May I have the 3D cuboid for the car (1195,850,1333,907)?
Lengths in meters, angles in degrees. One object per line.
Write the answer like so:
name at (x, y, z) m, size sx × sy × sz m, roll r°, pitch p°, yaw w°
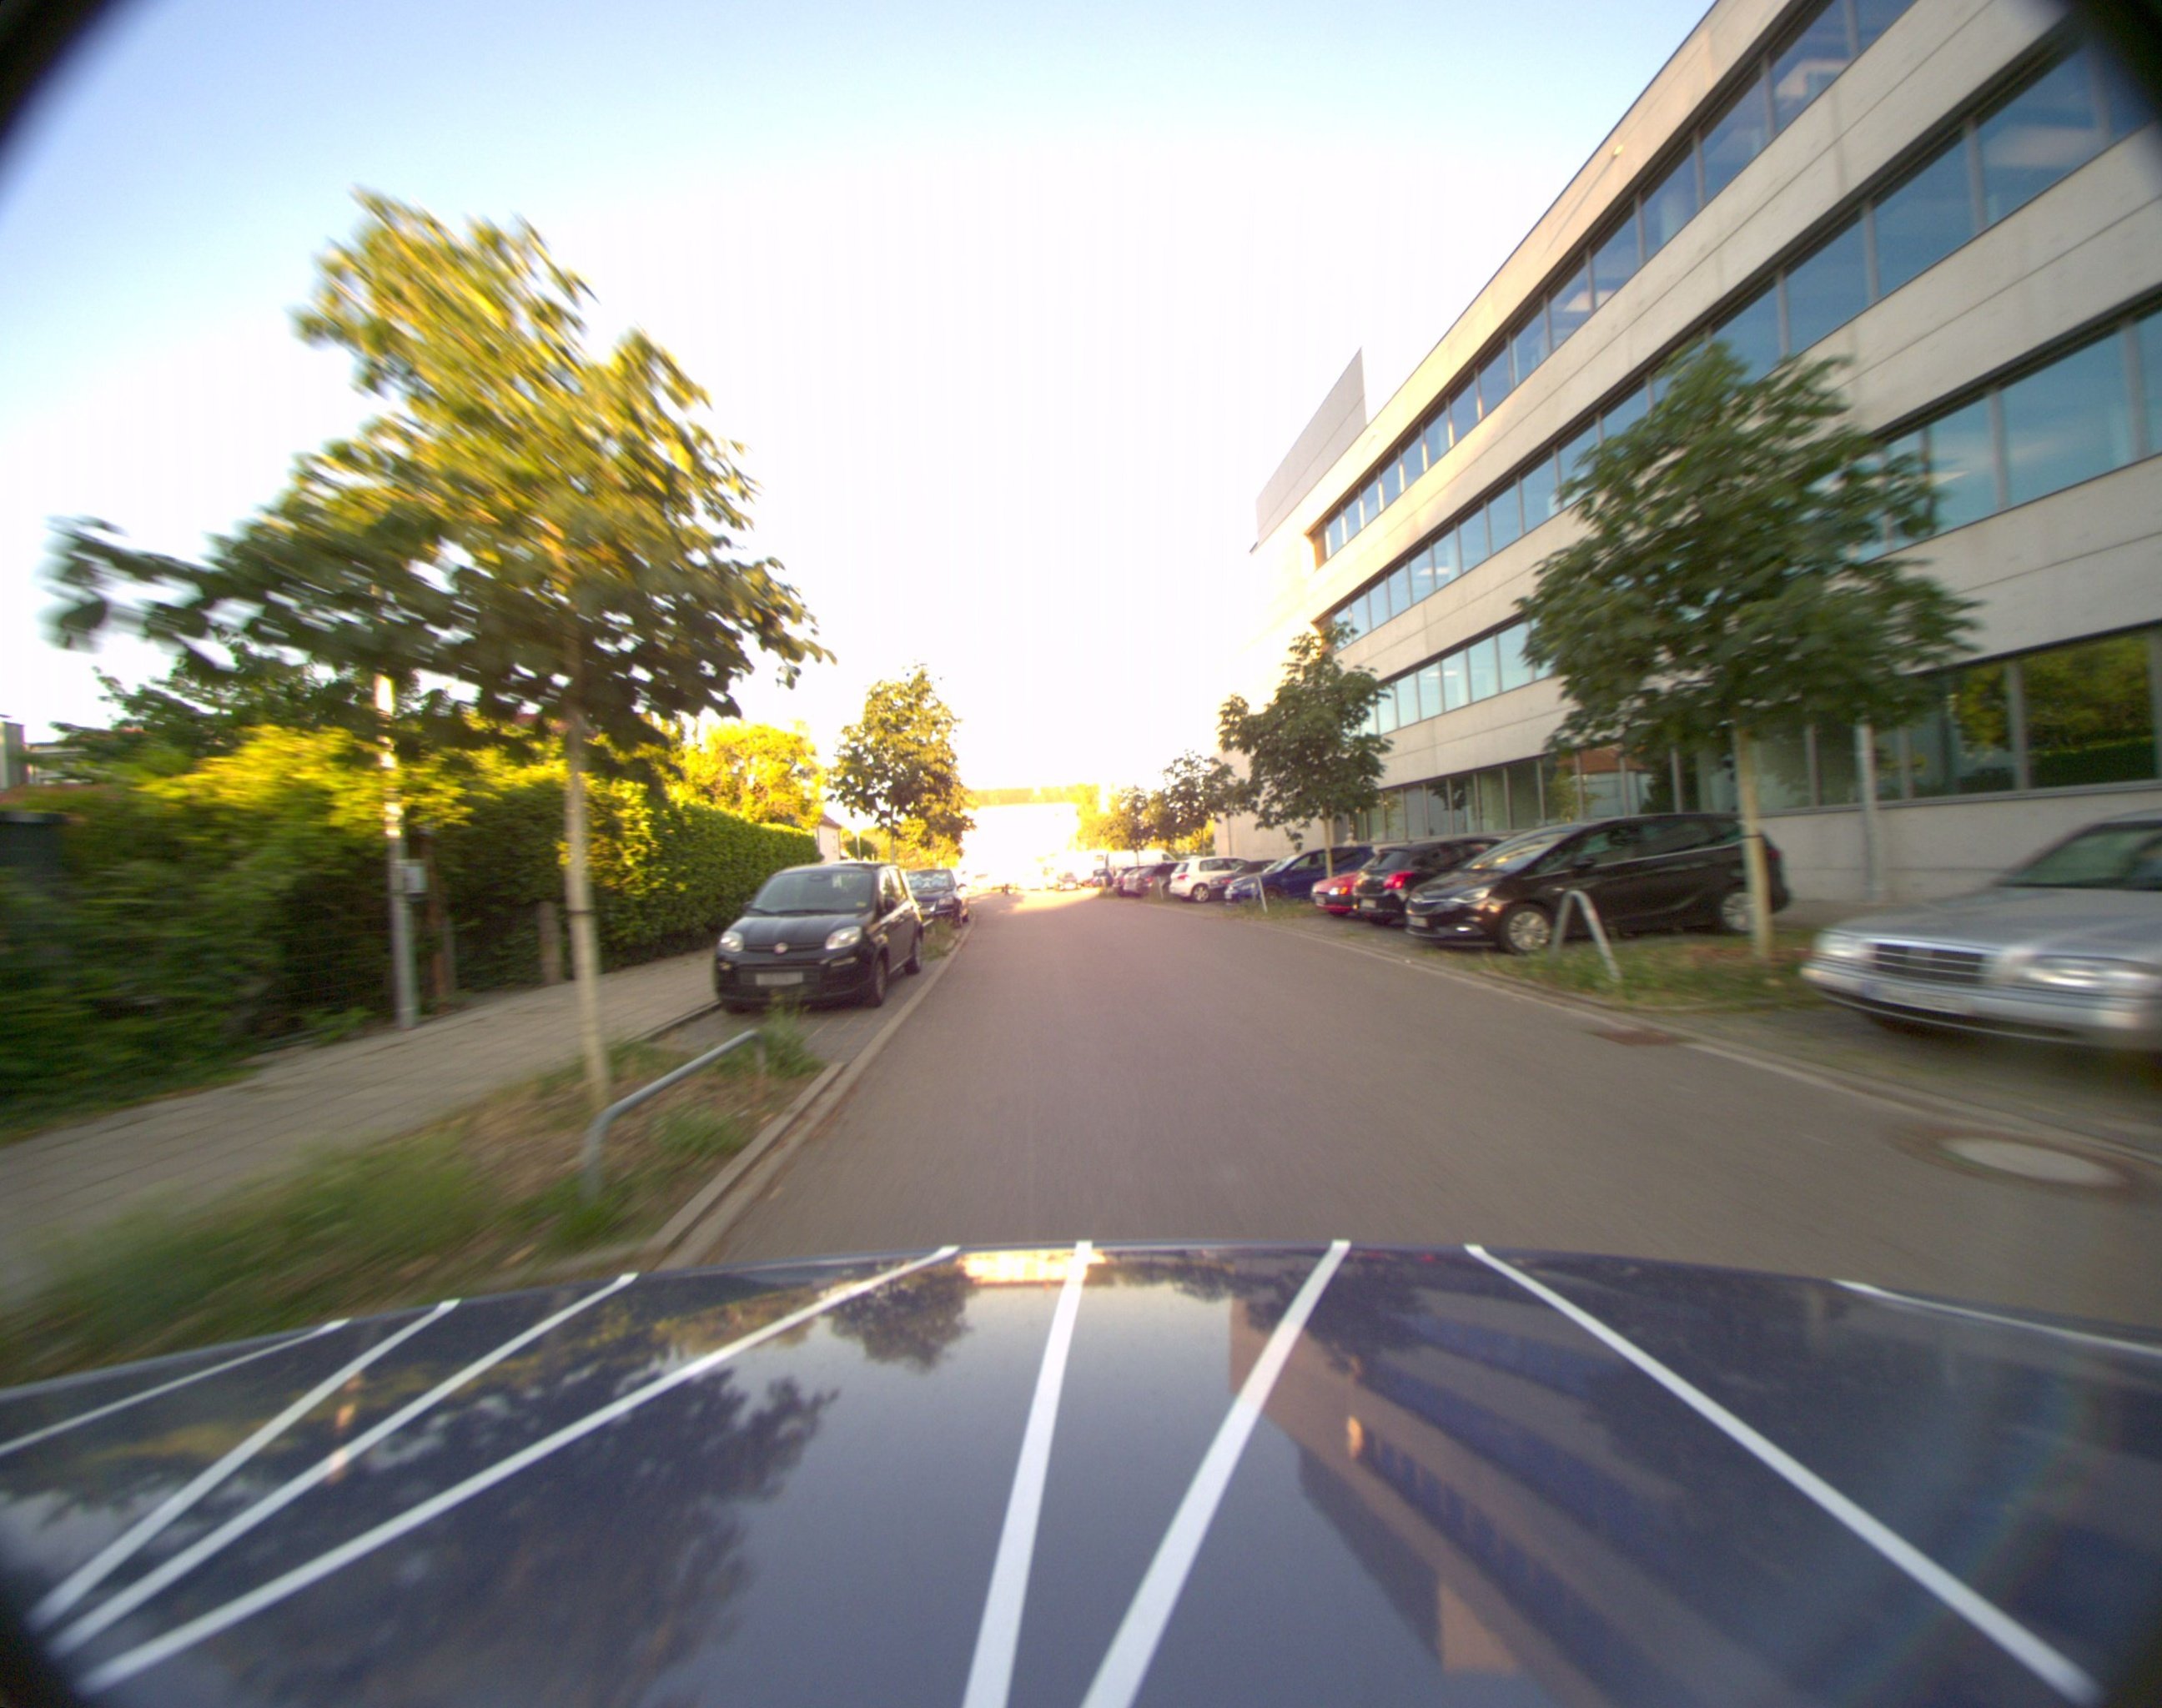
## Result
car at (5.544, 0.740, 23.175) m, size 3.645 × 1.353 × 1.685 m, roll -5°, pitch -1°, yaw -12°

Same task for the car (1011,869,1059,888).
car at (-4.050, 2.148, 66.894) m, size 3.741 × 1.359 × 1.703 m, roll -5°, pitch 0°, yaw -22°

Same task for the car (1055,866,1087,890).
car at (-0.781, 1.695, 55.045) m, size 1.692 × 1.510 × 4.358 m, roll -5°, pitch 0°, yaw -7°

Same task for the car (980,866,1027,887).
car at (-7.595, 2.207, 74.524) m, size 4.142 × 1.582 × 1.745 m, roll -6°, pitch 1°, yaw -20°

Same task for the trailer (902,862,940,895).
trailer at (-11.809, 1.772, 55.708) m, size 2.072 × 2.198 × 5.216 m, roll -3°, pitch -1°, yaw -18°

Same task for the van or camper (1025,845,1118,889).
van or camper at (-0.784, 0.990, 59.855) m, size 6.765 × 2.880 × 2.406 m, roll -5°, pitch 0°, yaw -15°

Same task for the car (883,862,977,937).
car at (-3.630, 1.055, 19.007) m, size 1.715 × 1.540 × 4.547 m, roll -3°, pitch -1°, yaw -5°

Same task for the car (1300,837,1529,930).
car at (6.527, 0.545, 15.090) m, size 3.713 × 1.449 × 1.710 m, roll -4°, pitch 0°, yaw -6°

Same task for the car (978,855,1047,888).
car at (-6.552, 1.658, 72.532) m, size 5.910 × 2.519 × 2.408 m, roll -6°, pitch 1°, yaw -19°

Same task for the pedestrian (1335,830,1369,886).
pedestrian at (8.953, 0.150, 25.118) m, size 0.647 × 1.773 × 0.725 m, roll -5°, pitch 0°, yaw -7°

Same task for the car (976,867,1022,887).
car at (-8.253, 2.317, 76.285) m, size 4.143 × 1.582 × 1.745 m, roll -6°, pitch 1°, yaw -22°

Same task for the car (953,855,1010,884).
car at (-11.343, 1.805, 86.926) m, size 5.850 × 2.697 × 2.047 m, roll -6°, pitch 0°, yaw -25°

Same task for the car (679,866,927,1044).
car at (-2.902, 0.955, 8.733) m, size 1.581 × 1.501 × 3.496 m, roll -3°, pitch 0°, yaw -2°

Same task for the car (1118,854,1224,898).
car at (3.897, 0.944, 33.172) m, size 4.100 × 1.519 × 1.844 m, roll -5°, pitch 0°, yaw -13°

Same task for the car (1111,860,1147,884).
car at (3.524, 1.280, 56.148) m, size 1.668 × 1.471 × 4.200 m, roll -6°, pitch 2°, yaw -9°

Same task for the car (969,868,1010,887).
car at (-9.484, 2.399, 78.575) m, size 3.940 × 1.581 × 1.746 m, roll -5°, pitch 0°, yaw -15°

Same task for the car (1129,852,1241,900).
car at (4.153, 0.885, 30.413) m, size 4.012 × 1.503 × 1.584 m, roll -5°, pitch -2°, yaw -13°

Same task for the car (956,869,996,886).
car at (-11.557, 2.616, 83.893) m, size 3.942 × 1.498 × 1.787 m, roll -5°, pitch 0°, yaw -23°

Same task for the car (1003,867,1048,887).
car at (-5.094, 2.100, 69.371) m, size 3.643 × 1.510 × 1.703 m, roll -5°, pitch 0°, yaw -22°

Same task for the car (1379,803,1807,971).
car at (6.521, 0.393, 10.051) m, size 4.320 × 1.686 × 1.896 m, roll -4°, pitch 0°, yaw -1°

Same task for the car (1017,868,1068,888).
car at (-3.254, 2.030, 64.282) m, size 3.823 × 1.321 × 1.690 m, roll -5°, pitch 0°, yaw -20°

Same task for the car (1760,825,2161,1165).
car at (6.976, 0.554, 4.411) m, size 4.445 × 1.455 × 1.763 m, roll -4°, pitch -1°, yaw -1°

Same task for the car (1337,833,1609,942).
car at (6.561, 0.529, 12.957) m, size 3.713 × 1.449 × 1.678 m, roll -4°, pitch 0°, yaw -5°

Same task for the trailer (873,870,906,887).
trailer at (-31.770, 4.074, 126.138) m, size 4.811 × 2.419 × 2.130 m, roll -5°, pitch 2°, yaw -22°

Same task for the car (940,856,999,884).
car at (-13.260, 1.923, 90.781) m, size 6.416 × 2.698 × 2.108 m, roll -6°, pitch 2°, yaw -30°

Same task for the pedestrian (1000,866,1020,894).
pedestrian at (-4.846, 1.776, 52.113) m, size 0.854 × 1.839 × 0.904 m, roll -4°, pitch -1°, yaw 44°

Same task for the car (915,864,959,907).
car at (-7.832, 1.674, 41.476) m, size 2.072 × 2.082 × 4.869 m, roll -3°, pitch -1°, yaw -10°

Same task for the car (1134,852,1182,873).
car at (6.243, 0.686, 61.734) m, size 3.450 × 1.439 × 1.513 m, roll -5°, pitch 0°, yaw -13°

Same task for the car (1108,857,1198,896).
car at (3.370, 1.058, 35.710) m, size 3.747 × 1.473 × 1.768 m, roll -5°, pitch -1°, yaw -13°

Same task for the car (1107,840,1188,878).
car at (5.634, 0.446, 64.533) m, size 6.264 × 2.657 × 2.221 m, roll -5°, pitch 0°, yaw -13°

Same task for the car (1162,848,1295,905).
car at (4.943, 0.755, 25.771) m, size 3.999 × 1.502 × 1.759 m, roll -5°, pitch -1°, yaw -7°

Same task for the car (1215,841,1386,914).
car at (5.736, 0.612, 20.124) m, size 3.881 × 1.502 × 1.759 m, roll -5°, pitch -1°, yaw -7°

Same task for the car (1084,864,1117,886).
car at (1.399, 1.537, 55.466) m, size 1.668 × 1.414 × 3.719 m, roll -4°, pitch 0°, yaw -9°
